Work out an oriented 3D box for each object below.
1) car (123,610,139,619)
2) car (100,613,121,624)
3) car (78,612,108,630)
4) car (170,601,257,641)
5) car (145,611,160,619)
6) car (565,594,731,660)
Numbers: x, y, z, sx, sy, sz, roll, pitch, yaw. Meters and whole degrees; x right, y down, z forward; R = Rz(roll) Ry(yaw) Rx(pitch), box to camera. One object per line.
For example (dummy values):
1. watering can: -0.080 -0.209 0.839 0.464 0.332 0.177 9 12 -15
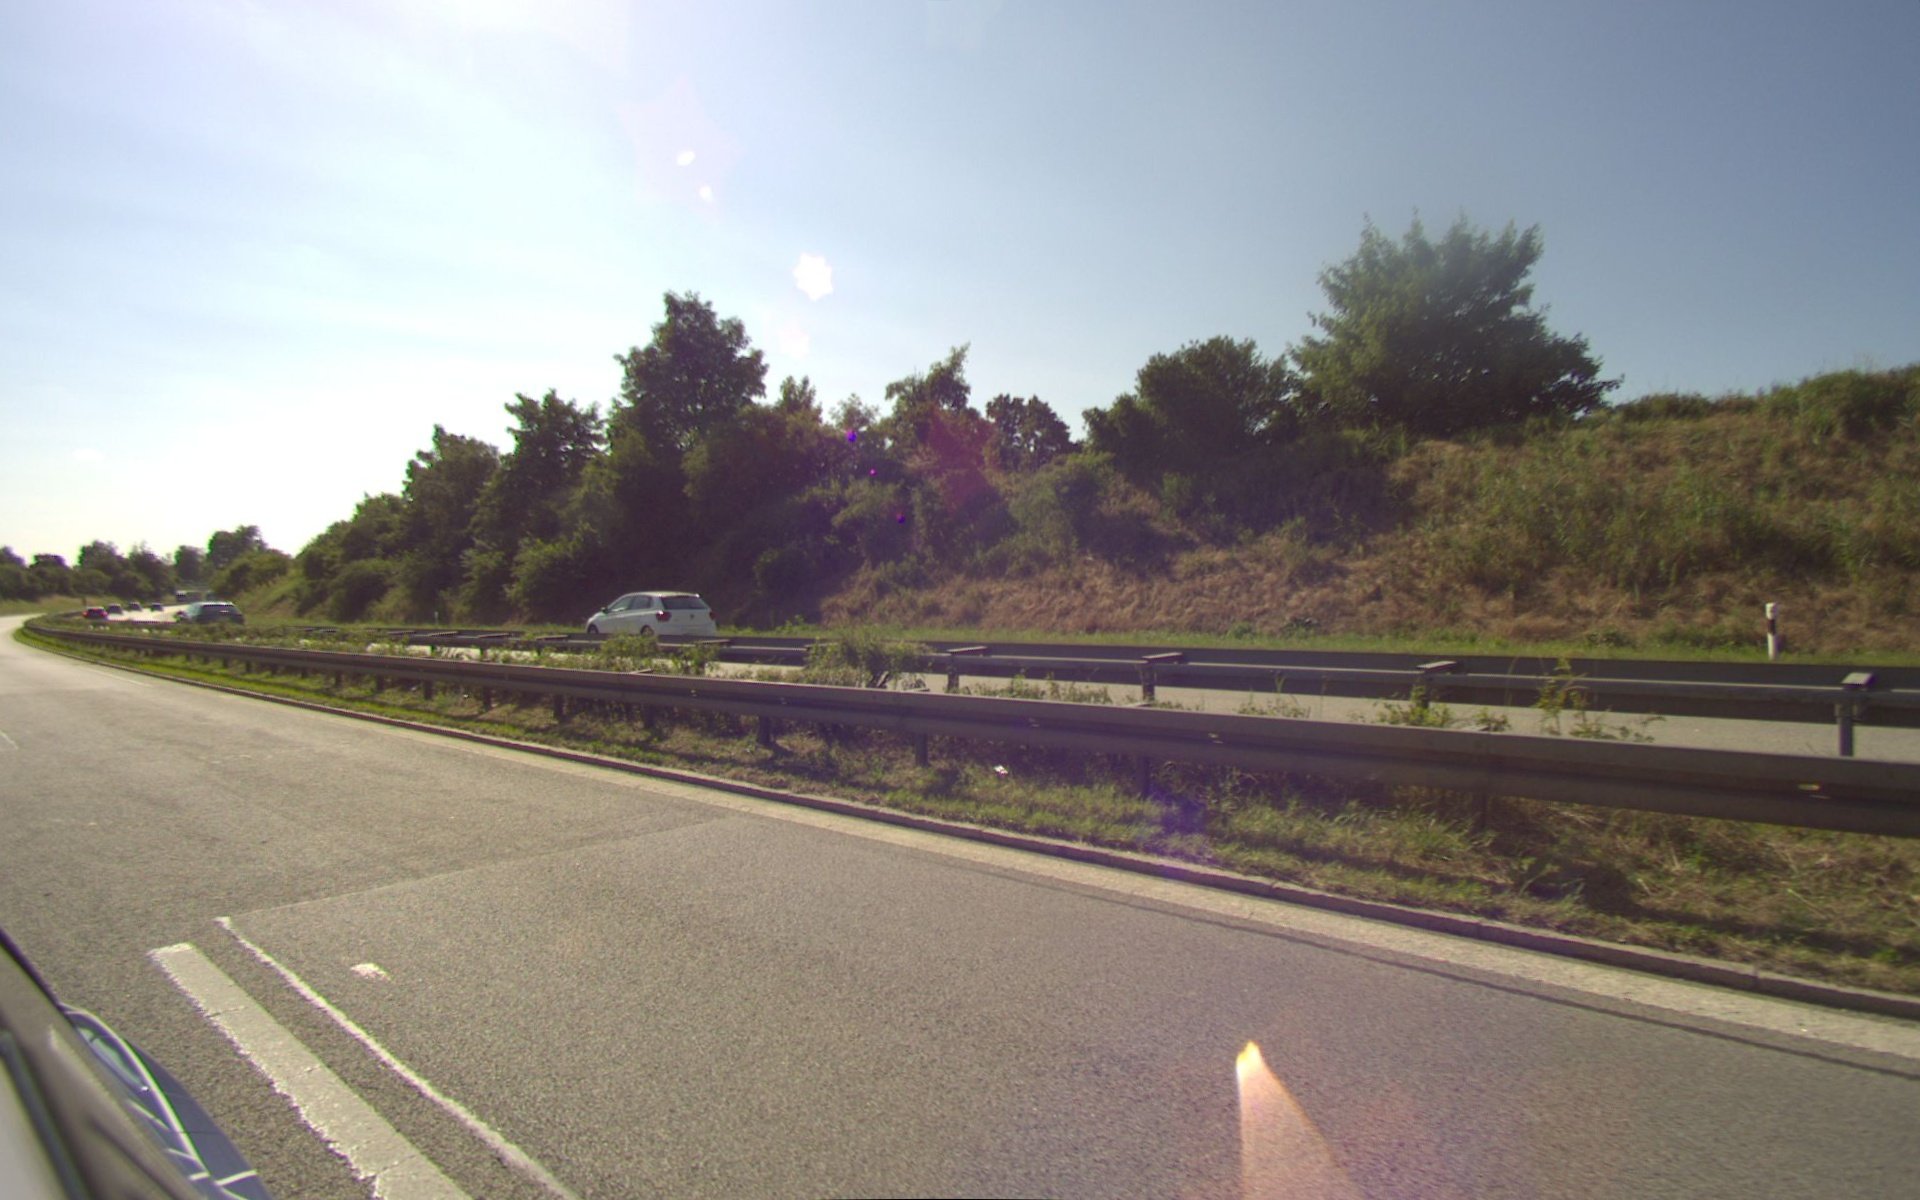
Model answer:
1. car: -151.676 2.694 185.108 2.043 1.692 4.892 1 -2 -43
2. car: -126.984 2.776 151.274 1.971 1.664 4.436 1 -1 -45
3. car: -79.231 1.909 92.465 4.908 1.465 1.626 0 1 44
4. car: -30.761 0.830 41.648 4.675 1.557 1.972 -1 -1 42
5. car: -150.251 2.830 188.294 1.797 1.491 4.691 -1 0 -42
6. car: -7.702 0.639 24.788 4.410 1.449 1.820 -1 0 41
